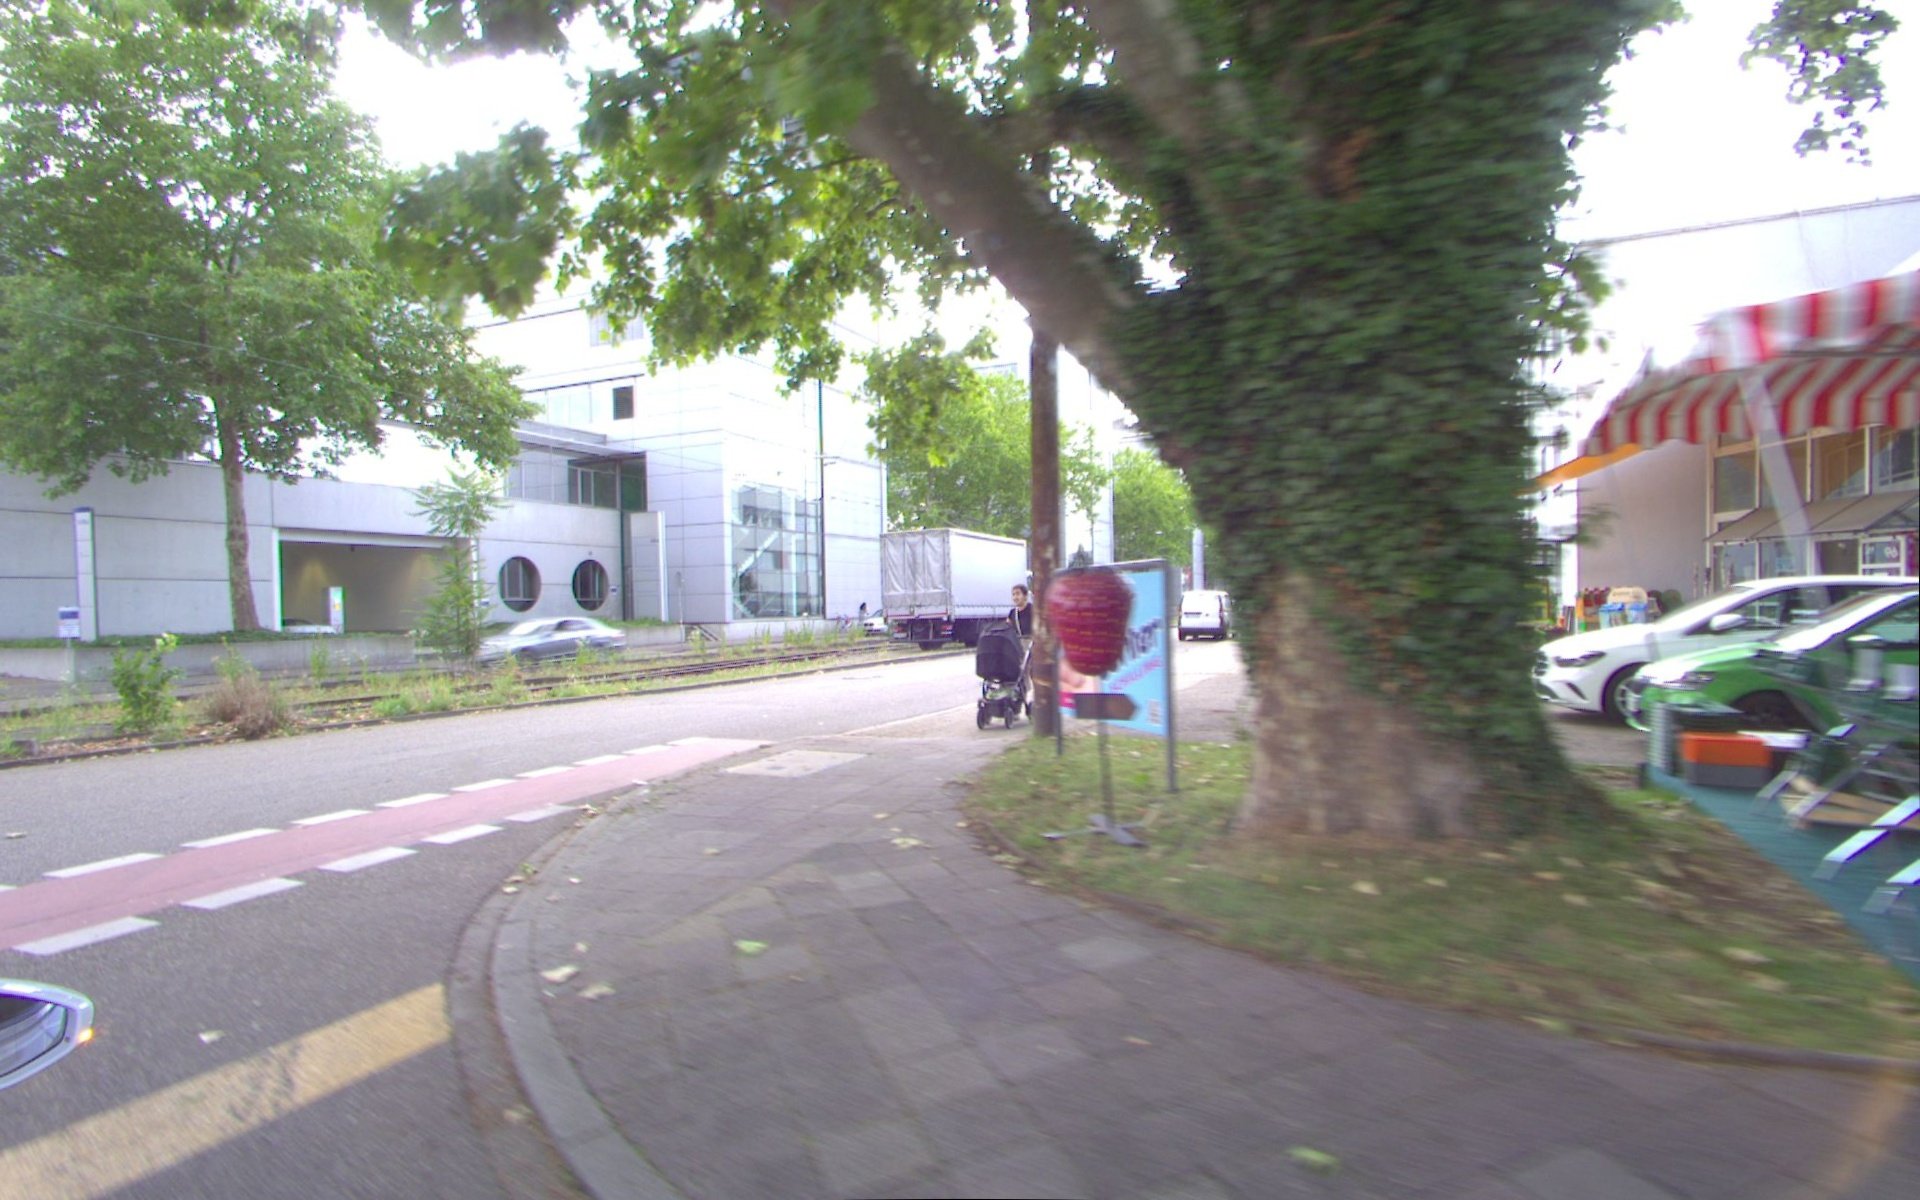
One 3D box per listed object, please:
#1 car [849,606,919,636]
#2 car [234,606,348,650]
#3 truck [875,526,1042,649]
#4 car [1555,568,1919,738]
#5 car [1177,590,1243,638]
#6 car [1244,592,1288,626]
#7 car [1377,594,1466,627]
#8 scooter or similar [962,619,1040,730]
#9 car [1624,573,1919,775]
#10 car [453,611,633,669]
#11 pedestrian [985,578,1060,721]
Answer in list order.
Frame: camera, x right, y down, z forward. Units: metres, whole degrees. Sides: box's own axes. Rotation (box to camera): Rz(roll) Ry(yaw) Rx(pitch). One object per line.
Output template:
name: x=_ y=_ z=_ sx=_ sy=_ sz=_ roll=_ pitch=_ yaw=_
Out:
car: x=-3.951 y=1.071 z=52.807 sx=1.913 sy=1.471 sz=4.058 roll=-1 pitch=0 yaw=25
car: x=-25.284 y=1.058 z=37.839 sx=3.983 sy=1.599 sz=1.827 roll=-1 pitch=0 yaw=26
truck: x=0.276 y=-0.406 z=37.121 sx=2.752 sy=3.948 sz=9.518 roll=-1 pitch=0 yaw=22
car: x=8.639 y=0.508 z=10.445 sx=3.931 sy=1.589 sz=1.741 roll=-1 pitch=0 yaw=21
car: x=9.502 y=0.491 z=37.842 sx=1.643 sy=1.708 sz=3.922 roll=-1 pitch=0 yaw=26
car: x=16.419 y=0.466 z=53.637 sx=1.643 sy=1.708 sz=3.886 roll=-1 pitch=0 yaw=26
car: x=22.268 y=0.501 z=48.434 sx=3.834 sy=1.508 sz=1.665 roll=-1 pitch=0 yaw=23
scooter or similar: x=0.496 y=0.846 z=11.723 sx=0.635 sy=1.215 sz=1.025 roll=-1 pitch=0 yaw=18
car: x=7.909 y=0.554 z=8.194 sx=3.937 sy=1.532 sz=1.738 roll=-1 pitch=0 yaw=28
car: x=-12.021 y=1.112 z=29.271 sx=1.744 sy=1.450 sz=4.953 roll=-1 pitch=0 yaw=25
pedestrian: x=0.801 y=0.605 z=12.662 sx=0.707 sy=1.736 sz=0.963 roll=-1 pitch=0 yaw=18
